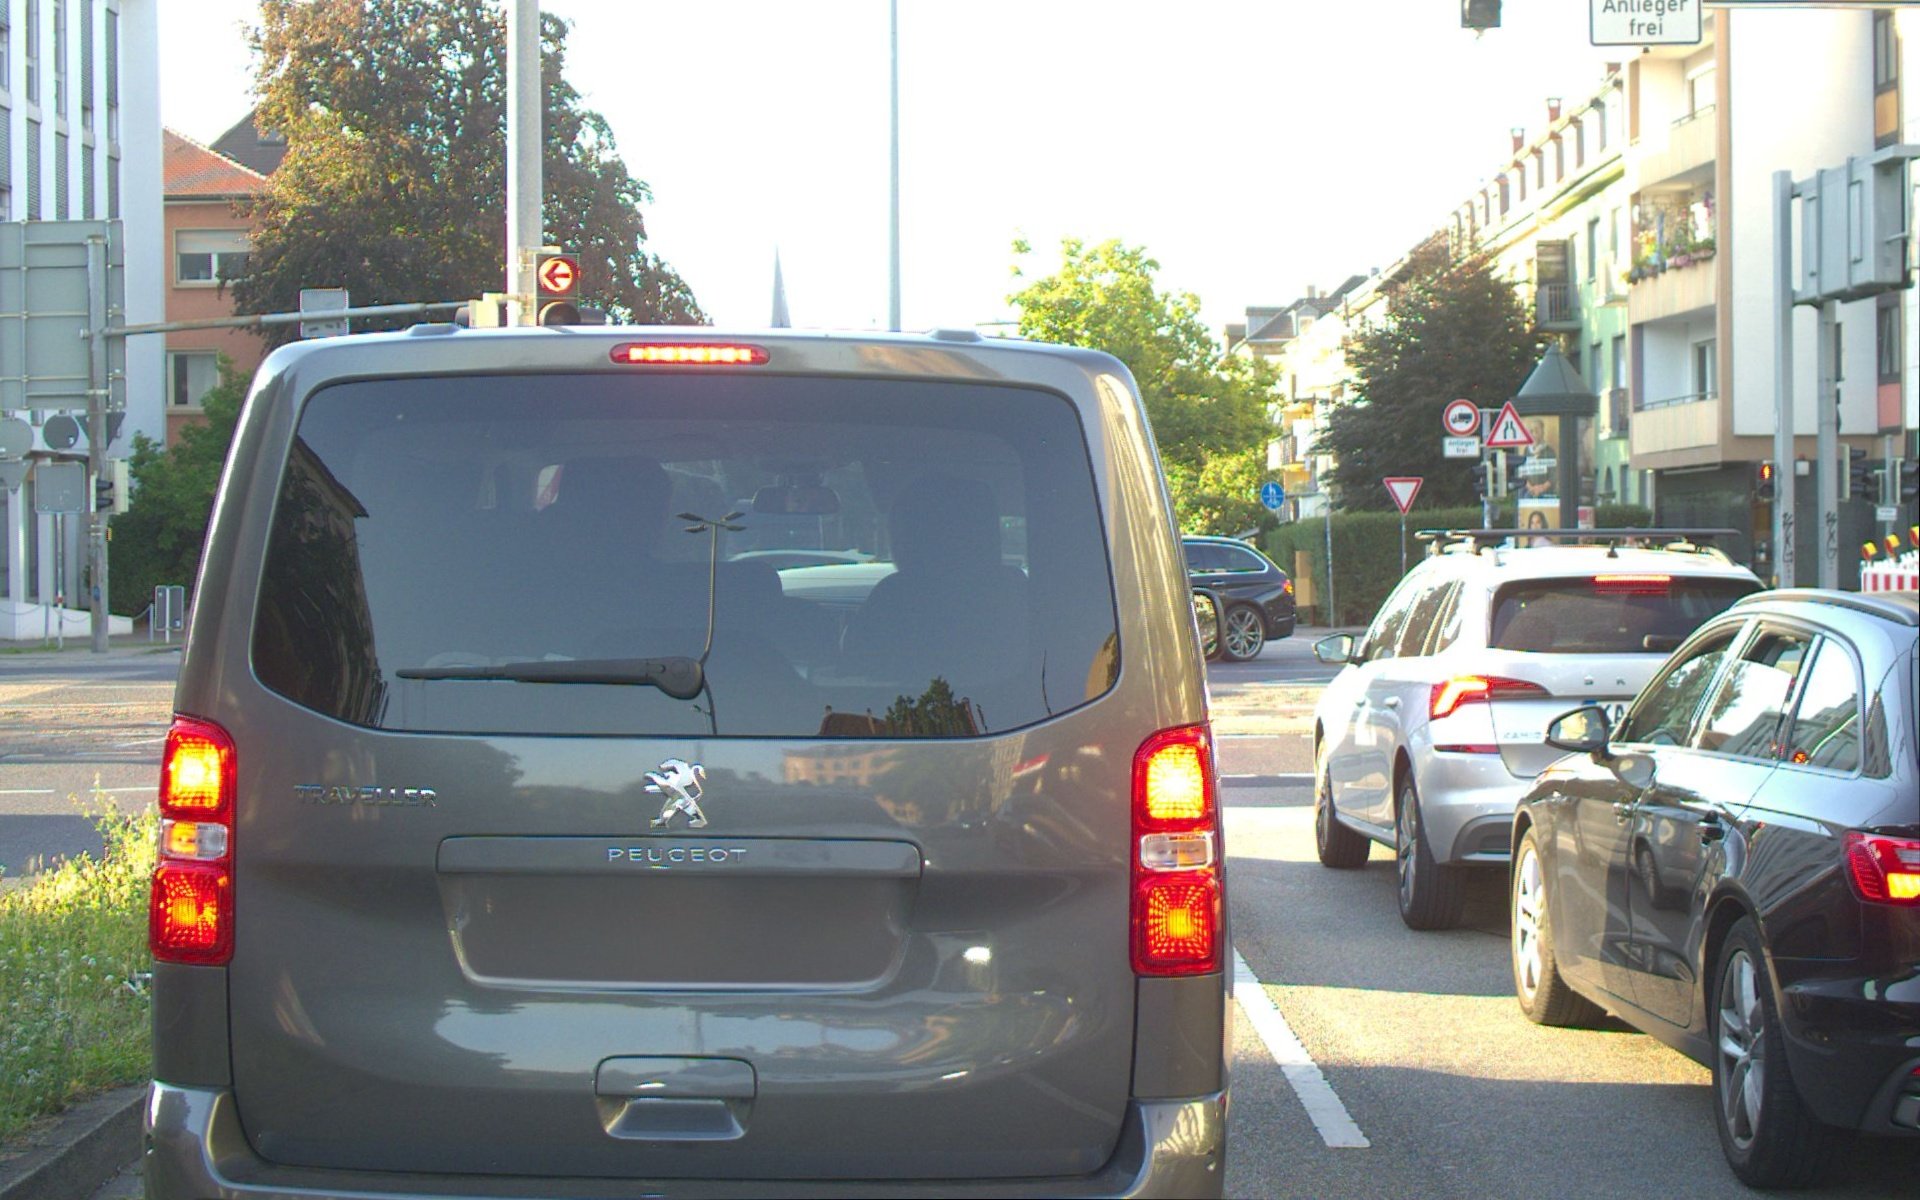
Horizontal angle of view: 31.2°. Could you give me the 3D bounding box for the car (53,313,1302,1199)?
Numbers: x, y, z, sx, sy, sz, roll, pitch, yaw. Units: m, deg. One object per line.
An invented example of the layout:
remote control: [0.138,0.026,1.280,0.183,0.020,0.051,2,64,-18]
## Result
car: [-0.468,0.464,7.579,1.907,1.857,4.527,1,1,-1]

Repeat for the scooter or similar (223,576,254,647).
scooter or similar: [-12.260,0.185,58.425,0.285,1.184,1.169,0,1,-1]

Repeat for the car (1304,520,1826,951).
car: [2.476,0.481,14.880,1.528,1.608,3.745,1,1,-1]

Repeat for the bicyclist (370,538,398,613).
bicyclist: [-11.920,-0.510,71.160,0.477,1.550,0.509,0,1,-1]

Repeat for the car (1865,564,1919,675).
car: [14.171,0.230,45.321,3.986,1.413,1.682,-1,1,-6]

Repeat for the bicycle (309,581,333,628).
bicycle: [-12.967,0.086,69.748,0.291,0.945,1.072,0,1,-1]

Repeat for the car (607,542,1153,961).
car: [-0.318,0.523,14.628,1.993,1.525,4.000,0,1,-1]

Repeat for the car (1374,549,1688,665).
car: [8.161,0.101,49.328,4.117,1.588,1.795,-1,0,-5]

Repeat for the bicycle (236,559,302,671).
bicycle: [-12.756,0.250,63.528,0.715,2.007,2.564,0,1,-1]

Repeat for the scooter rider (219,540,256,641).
scooter rider: [-12.254,-0.166,58.330,0.481,1.691,0.636,0,1,-1]

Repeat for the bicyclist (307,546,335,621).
bicyclist: [-12.972,-0.338,69.798,0.462,1.516,0.469,0,1,-1]

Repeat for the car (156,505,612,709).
car: [-5.431,0.017,32.923,1.997,1.811,4.222,0,1,32]

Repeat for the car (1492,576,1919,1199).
car: [2.628,0.680,9.200,1.681,1.416,4.214,1,1,-1]

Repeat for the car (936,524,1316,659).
car: [1.945,-0.127,39.636,4.229,1.437,1.702,-1,1,-36]

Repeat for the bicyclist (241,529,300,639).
bicyclist: [-12.736,-0.300,63.516,0.834,2.007,1.064,1,0,1]
